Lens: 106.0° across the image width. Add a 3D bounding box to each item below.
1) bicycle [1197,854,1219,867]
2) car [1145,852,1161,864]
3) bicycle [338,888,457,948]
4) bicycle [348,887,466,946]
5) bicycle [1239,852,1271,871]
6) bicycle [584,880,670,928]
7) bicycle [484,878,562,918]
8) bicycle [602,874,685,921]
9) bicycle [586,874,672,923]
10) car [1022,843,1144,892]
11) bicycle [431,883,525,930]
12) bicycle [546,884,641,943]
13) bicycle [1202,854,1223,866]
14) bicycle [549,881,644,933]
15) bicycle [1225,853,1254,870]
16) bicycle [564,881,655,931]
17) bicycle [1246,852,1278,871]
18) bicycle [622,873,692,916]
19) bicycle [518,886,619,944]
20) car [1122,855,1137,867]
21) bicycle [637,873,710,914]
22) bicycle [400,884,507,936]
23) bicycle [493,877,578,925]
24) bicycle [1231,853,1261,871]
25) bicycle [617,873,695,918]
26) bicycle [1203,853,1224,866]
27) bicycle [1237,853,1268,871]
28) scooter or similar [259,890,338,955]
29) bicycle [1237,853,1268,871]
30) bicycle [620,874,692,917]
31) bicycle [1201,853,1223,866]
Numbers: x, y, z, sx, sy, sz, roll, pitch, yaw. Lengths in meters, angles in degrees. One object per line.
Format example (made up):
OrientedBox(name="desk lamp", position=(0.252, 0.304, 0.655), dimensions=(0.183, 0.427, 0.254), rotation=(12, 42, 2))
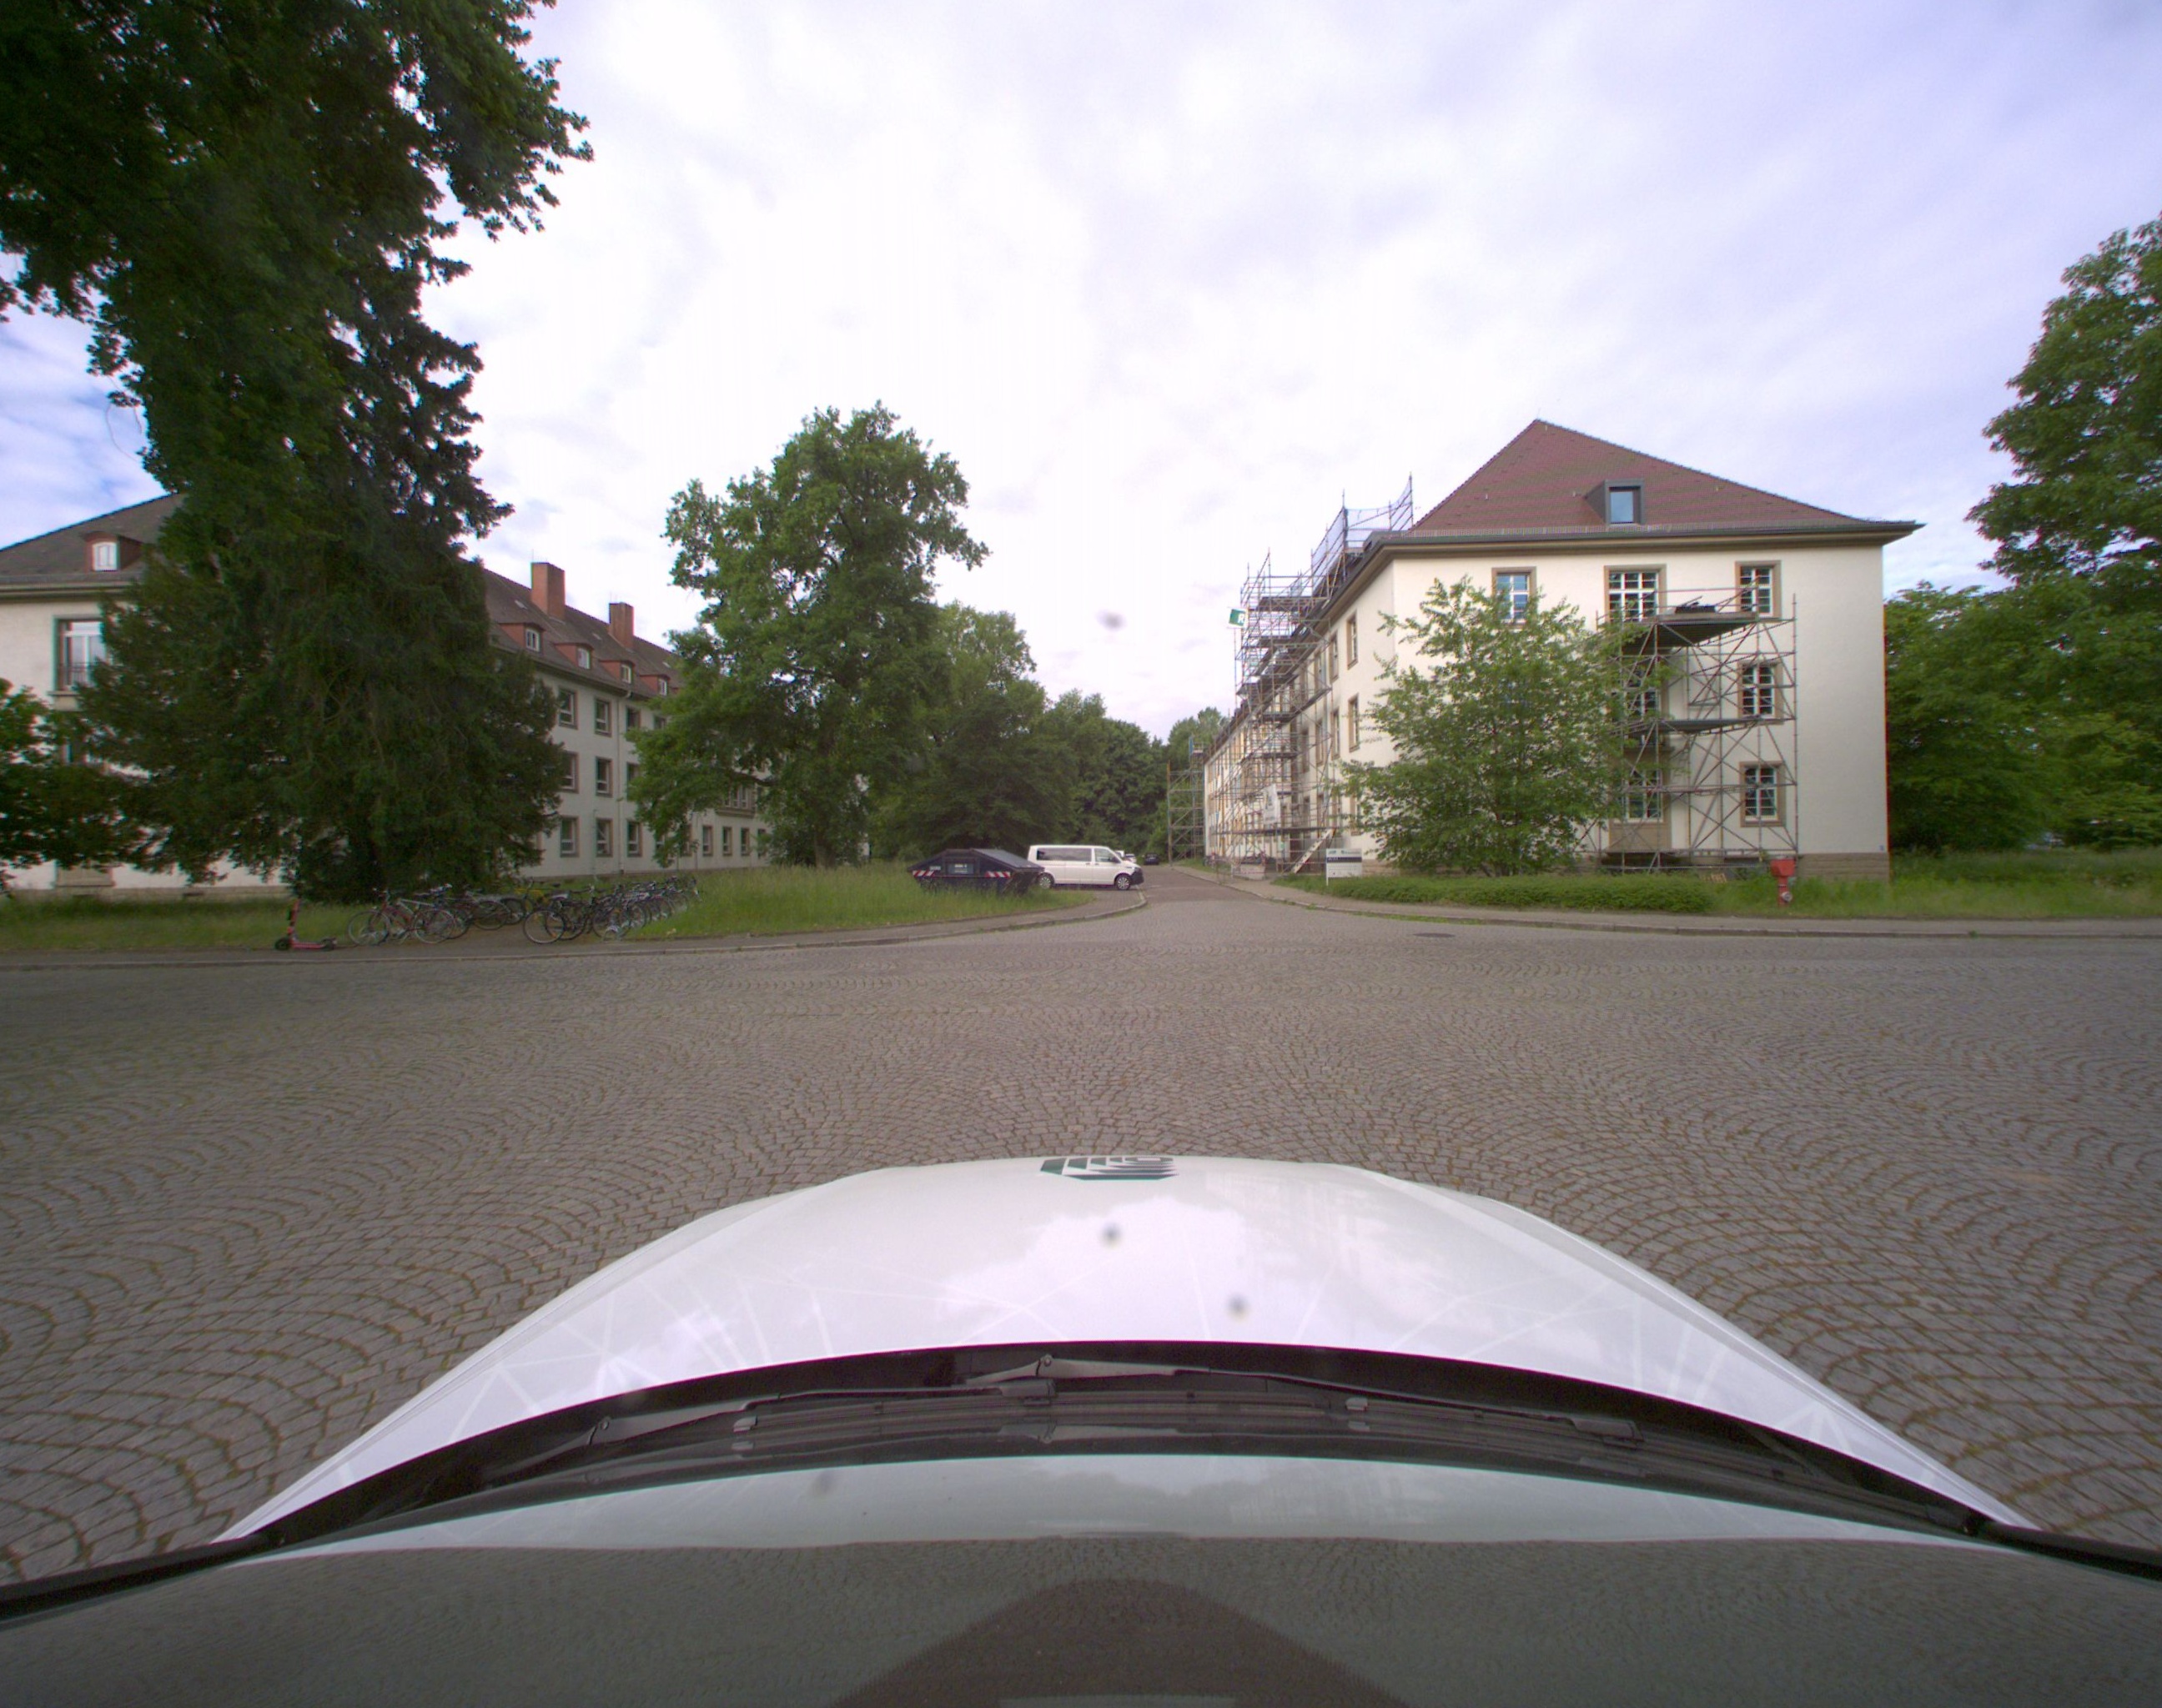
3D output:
OrientedBox(name="bicycle", position=(10.997, 0.573, 70.513), dimensions=(1.839, 1.095, 0.514), rotation=(-1, -1, 24))
OrientedBox(name="car", position=(8.680, 0.465, 98.825), dimensions=(1.573, 1.371, 3.953), rotation=(-1, 0, 0))
OrientedBox(name="bicycle", position=(-13.879, 1.288, 16.571), dimensions=(1.767, 1.114, 0.548), rotation=(-1, -1, -16))
OrientedBox(name="bicycle", position=(-14.060, 1.293, 17.029), dimensions=(1.802, 1.114, 0.548), rotation=(-1, 0, -16))
OrientedBox(name="bicycle", position=(10.450, 0.476, 48.909), dimensions=(1.845, 1.095, 0.512), rotation=(-1, -1, 9))
OrientedBox(name="bicycle", position=(-10.624, 1.156, 19.091), dimensions=(1.664, 1.008, 0.475), rotation=(-3, 0, -14))
OrientedBox(name="bicycle", position=(-15.445, 1.206, 22.567), dimensions=(1.679, 1.042, 0.549), rotation=(-1, 0, -12))
OrientedBox(name="bicycle", position=(-10.981, 1.086, 20.497), dimensions=(1.765, 1.112, 0.474), rotation=(-1, -1, -20))
OrientedBox(name="bicycle", position=(-11.051, 1.082, 19.963), dimensions=(1.762, 1.112, 0.475), rotation=(-1, -1, -14))
OrientedBox(name="car", position=(0.124, 0.576, 36.165), dimensions=(5.239, 1.996, 1.969), rotation=(-1, 0, 2))
OrientedBox(name="bicycle", position=(-14.777, 1.266, 20.007), dimensions=(1.756, 1.065, 0.547), rotation=(-1, -1, -24))
OrientedBox(name="bicycle", position=(-10.028, 1.209, 16.810), dimensions=(1.627, 1.074, 0.473), rotation=(-2, 0, -29))
OrientedBox(name="bicycle", position=(11.904, 0.535, 73.727), dimensions=(1.845, 1.095, 0.512), rotation=(-1, -1, 9))
OrientedBox(name="bicycle", position=(-10.503, 1.144, 17.700), dimensions=(1.664, 1.008, 0.475), rotation=(-3, 0, -14))
OrientedBox(name="bicycle", position=(10.488, 0.515, 53.896), dimensions=(1.845, 1.095, 0.512), rotation=(-1, -1, 9))
OrientedBox(name="bicycle", position=(-10.581, 1.150, 18.316), dimensions=(1.664, 1.008, 0.475), rotation=(-3, 0, -14))
OrientedBox(name="bicycle", position=(10.741, 0.469, 48.350), dimensions=(1.845, 1.095, 0.512), rotation=(-1, -1, 9))
OrientedBox(name="bicycle", position=(-11.789, 1.116, 22.655), dimensions=(1.645, 1.112, 0.441), rotation=(-1, -1, -9))
OrientedBox(name="bicycle", position=(-10.092, 1.191, 16.102), dimensions=(1.627, 1.008, 0.473), rotation=(-2, 0, -29))
OrientedBox(name="car", position=(5.920, 0.811, 98.965), dimensions=(1.573, 1.339, 3.953), rotation=(-1, 0, 0))
OrientedBox(name="bicycle", position=(-11.613, 1.113, 23.250), dimensions=(1.762, 1.112, 0.475), rotation=(-1, -1, -14))
OrientedBox(name="bicycle", position=(-14.364, 1.264, 18.697), dimensions=(1.828, 1.065, 0.613), rotation=(-1, 0, -24))
OrientedBox(name="bicycle", position=(-14.099, 1.200, 21.073), dimensions=(1.746, 1.171, 0.550), rotation=(-1, -1, -6))
OrientedBox(name="bicycle", position=(10.409, 0.497, 51.502), dimensions=(1.845, 1.095, 0.512), rotation=(-1, -1, 9))
OrientedBox(name="bicycle", position=(-11.340, 1.099, 21.751), dimensions=(1.762, 1.112, 0.475), rotation=(-1, -1, -14))
OrientedBox(name="bicycle", position=(12.140, 0.519, 74.511), dimensions=(1.845, 1.095, 0.512), rotation=(-1, -1, 9))
OrientedBox(name="bicycle", position=(10.619, 0.487, 50.499), dimensions=(1.845, 1.095, 0.512), rotation=(-1, -1, 9))
OrientedBox(name="scooter or similar", position=(-15.146, 1.324, 15.770), dimensions=(1.131, 1.210, 0.357), rotation=(-1, -1, -2))
OrientedBox(name="bicycle", position=(10.472, 0.485, 49.702), dimensions=(1.845, 1.095, 0.512), rotation=(-1, -1, 9))
OrientedBox(name="bicycle", position=(-11.550, 1.110, 22.155), dimensions=(1.645, 1.112, 0.441), rotation=(-1, -1, -9))
OrientedBox(name="bicycle", position=(11.634, 0.506, 72.360), dimensions=(1.839, 1.095, 0.514), rotation=(-1, -1, 24))
